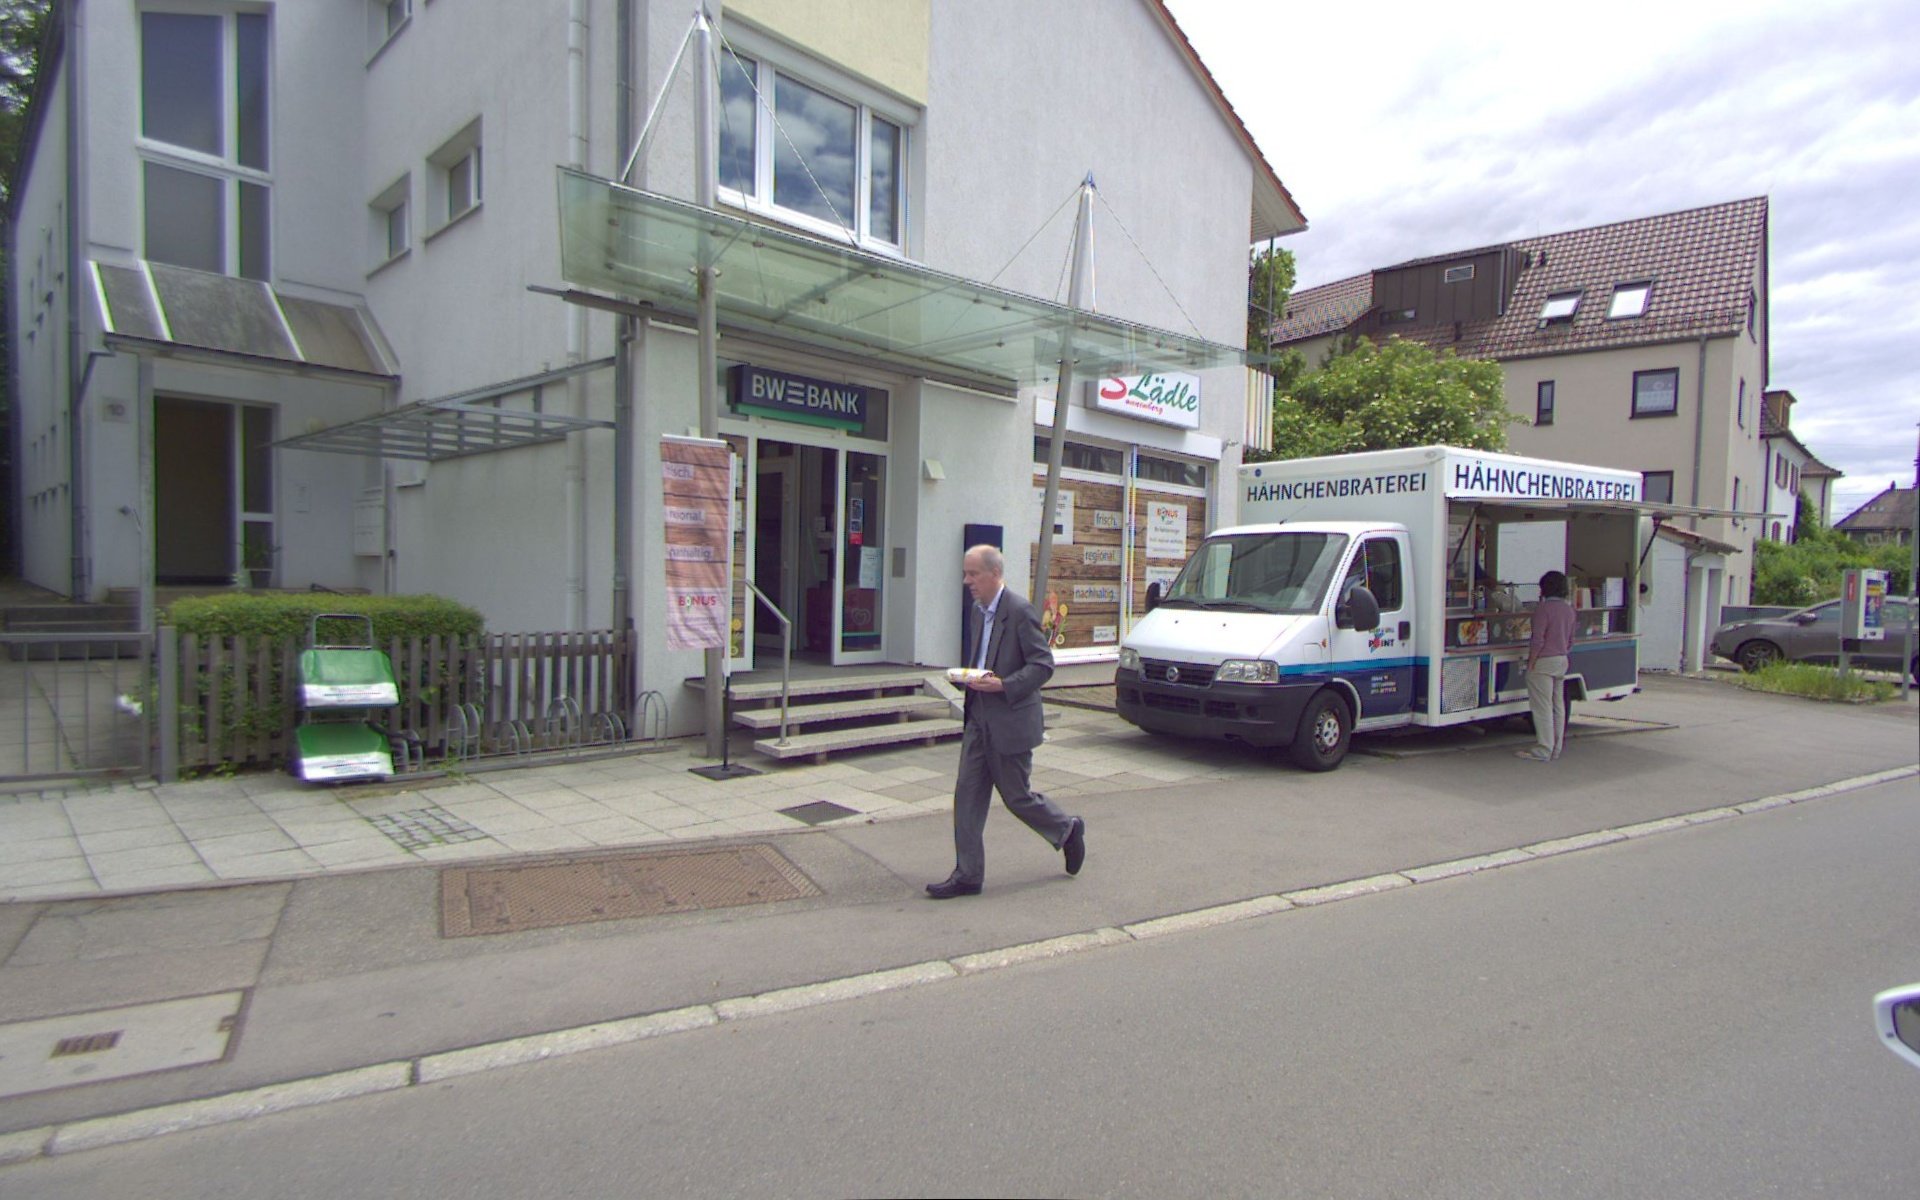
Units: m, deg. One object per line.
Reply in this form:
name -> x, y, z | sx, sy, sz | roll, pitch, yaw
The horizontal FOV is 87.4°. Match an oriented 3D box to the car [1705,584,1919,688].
car -> 17.624, 0.681, 19.917 | 1.786, 1.718, 4.268 | 0, 4, -44

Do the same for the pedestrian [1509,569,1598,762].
pedestrian -> 5.494, 0.588, 9.301 | 0.591, 1.718, 0.398 | 1, 4, -35

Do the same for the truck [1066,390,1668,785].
truck -> 4.424, -0.088, 10.274 | 6.641, 2.879, 2.456 | 1, 2, -35

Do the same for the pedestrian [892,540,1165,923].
pedestrian -> 0.333, 0.579, 5.058 | 1.096, 1.709, 0.719 | 0, 4, -30
